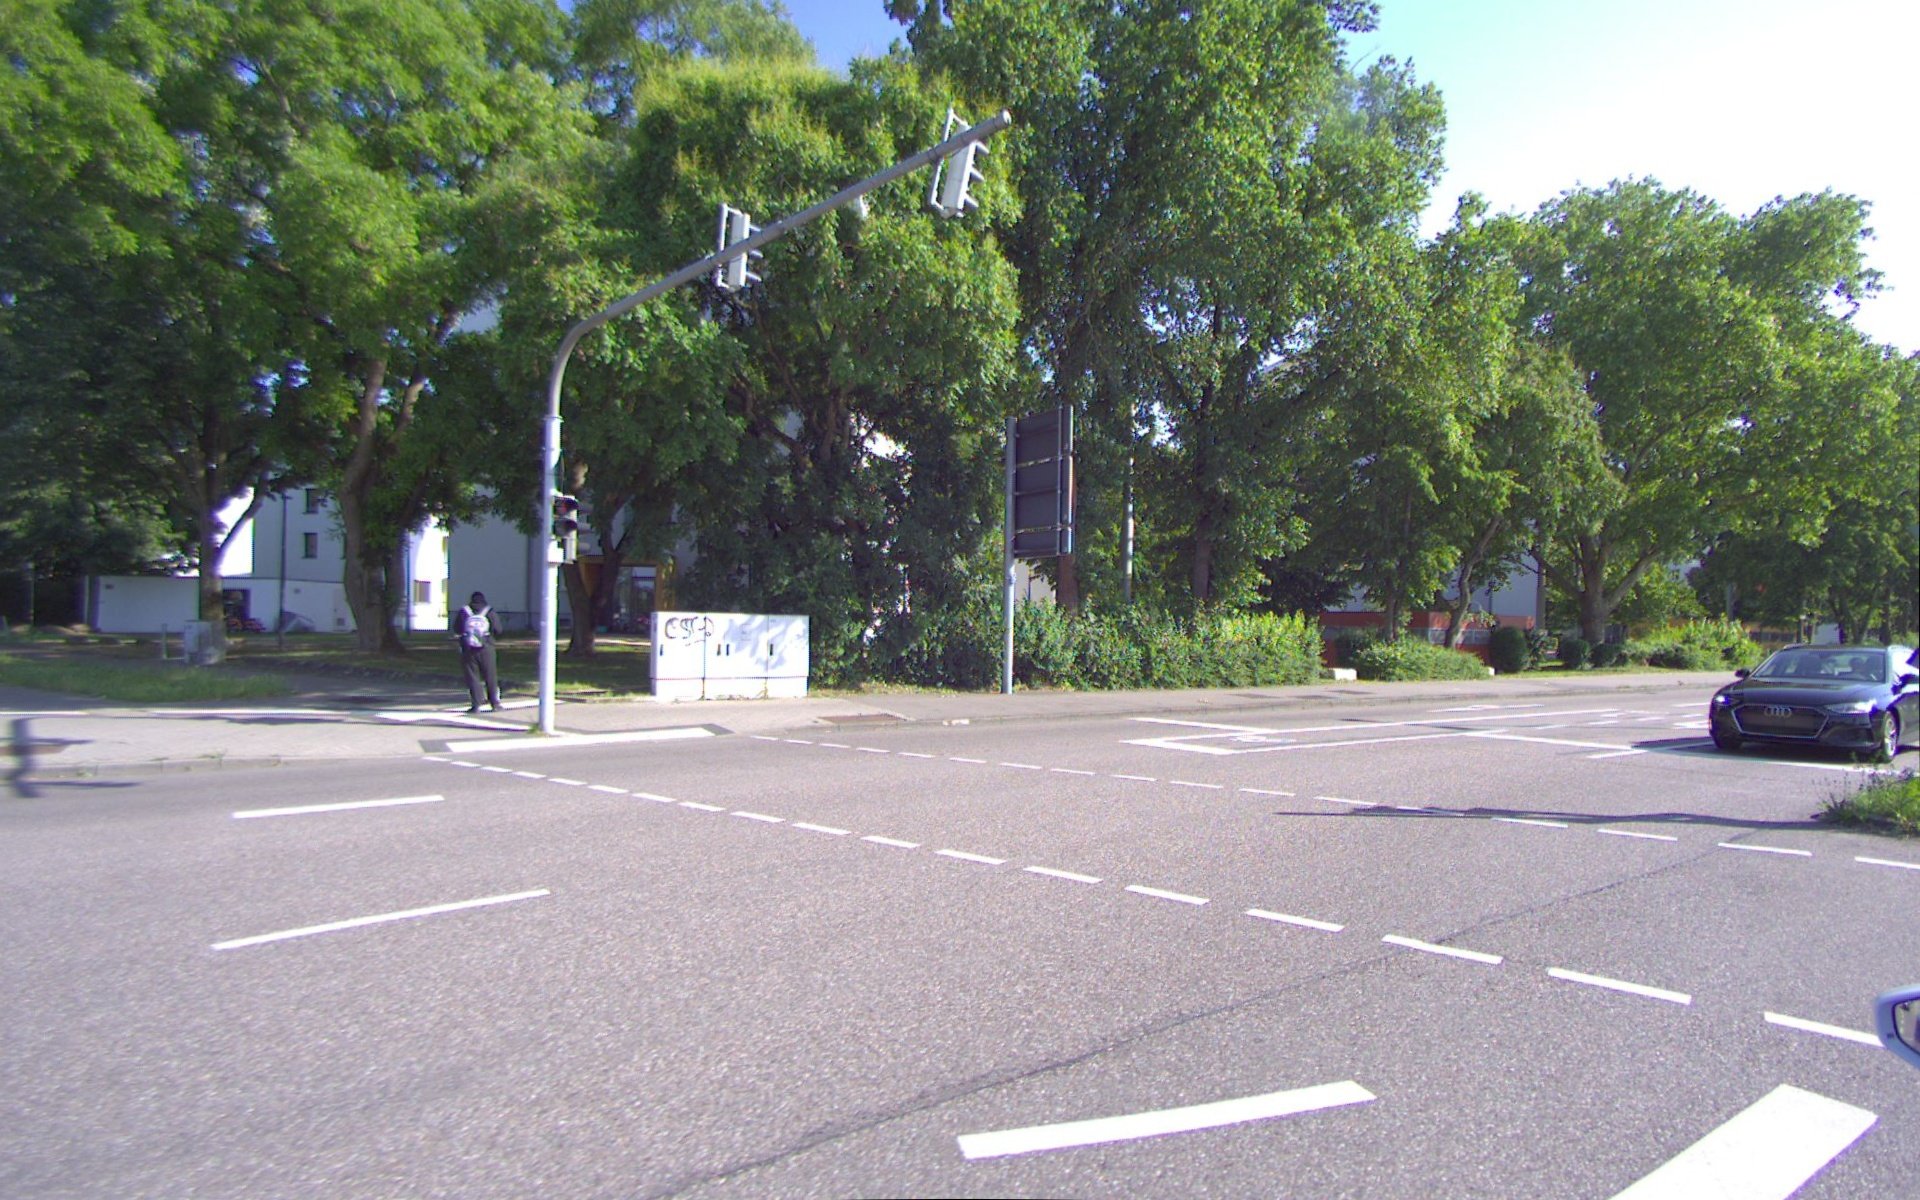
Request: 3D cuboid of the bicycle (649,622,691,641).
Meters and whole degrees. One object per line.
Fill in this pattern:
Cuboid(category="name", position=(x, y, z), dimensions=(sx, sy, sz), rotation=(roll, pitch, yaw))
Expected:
Cuboid(category="bicycle", position=(-11.802, 1.265, 40.913), dimensions=(0.497, 0.718, 2.116), rotation=(1, 0, 20))

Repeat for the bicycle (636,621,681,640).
Cuboid(category="bicycle", position=(-12.352, 1.248, 41.220), dimensions=(0.573, 0.718, 2.238), rotation=(1, 0, 20))

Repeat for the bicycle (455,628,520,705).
Cuboid(category="bicycle", position=(-7.698, 1.048, 16.313), dimensions=(0.626, 1.134, 1.896), rotation=(1, -1, -35))

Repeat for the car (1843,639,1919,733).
Cuboid(category="car", position=(16.857, 1.414, 17.095), dimensions=(4.337, 1.454, 1.817), rotation=(1, -2, -35))

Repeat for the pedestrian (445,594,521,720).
Cuboid(category="pedestrian", position=(-6.995, 0.808, 14.724), dimensions=(0.920, 1.775, 0.812), rotation=(1, 0, -30))

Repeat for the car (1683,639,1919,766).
Cuboid(category="car", position=(11.893, 1.271, 13.712), dimensions=(4.683, 1.450, 1.818), rotation=(2, -2, -34))

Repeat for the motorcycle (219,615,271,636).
Cuboid(category="motorcycle", position=(-33.697, 1.202, 47.354), dimensions=(2.004, 0.977, 0.526), rotation=(1, 0, -2))
